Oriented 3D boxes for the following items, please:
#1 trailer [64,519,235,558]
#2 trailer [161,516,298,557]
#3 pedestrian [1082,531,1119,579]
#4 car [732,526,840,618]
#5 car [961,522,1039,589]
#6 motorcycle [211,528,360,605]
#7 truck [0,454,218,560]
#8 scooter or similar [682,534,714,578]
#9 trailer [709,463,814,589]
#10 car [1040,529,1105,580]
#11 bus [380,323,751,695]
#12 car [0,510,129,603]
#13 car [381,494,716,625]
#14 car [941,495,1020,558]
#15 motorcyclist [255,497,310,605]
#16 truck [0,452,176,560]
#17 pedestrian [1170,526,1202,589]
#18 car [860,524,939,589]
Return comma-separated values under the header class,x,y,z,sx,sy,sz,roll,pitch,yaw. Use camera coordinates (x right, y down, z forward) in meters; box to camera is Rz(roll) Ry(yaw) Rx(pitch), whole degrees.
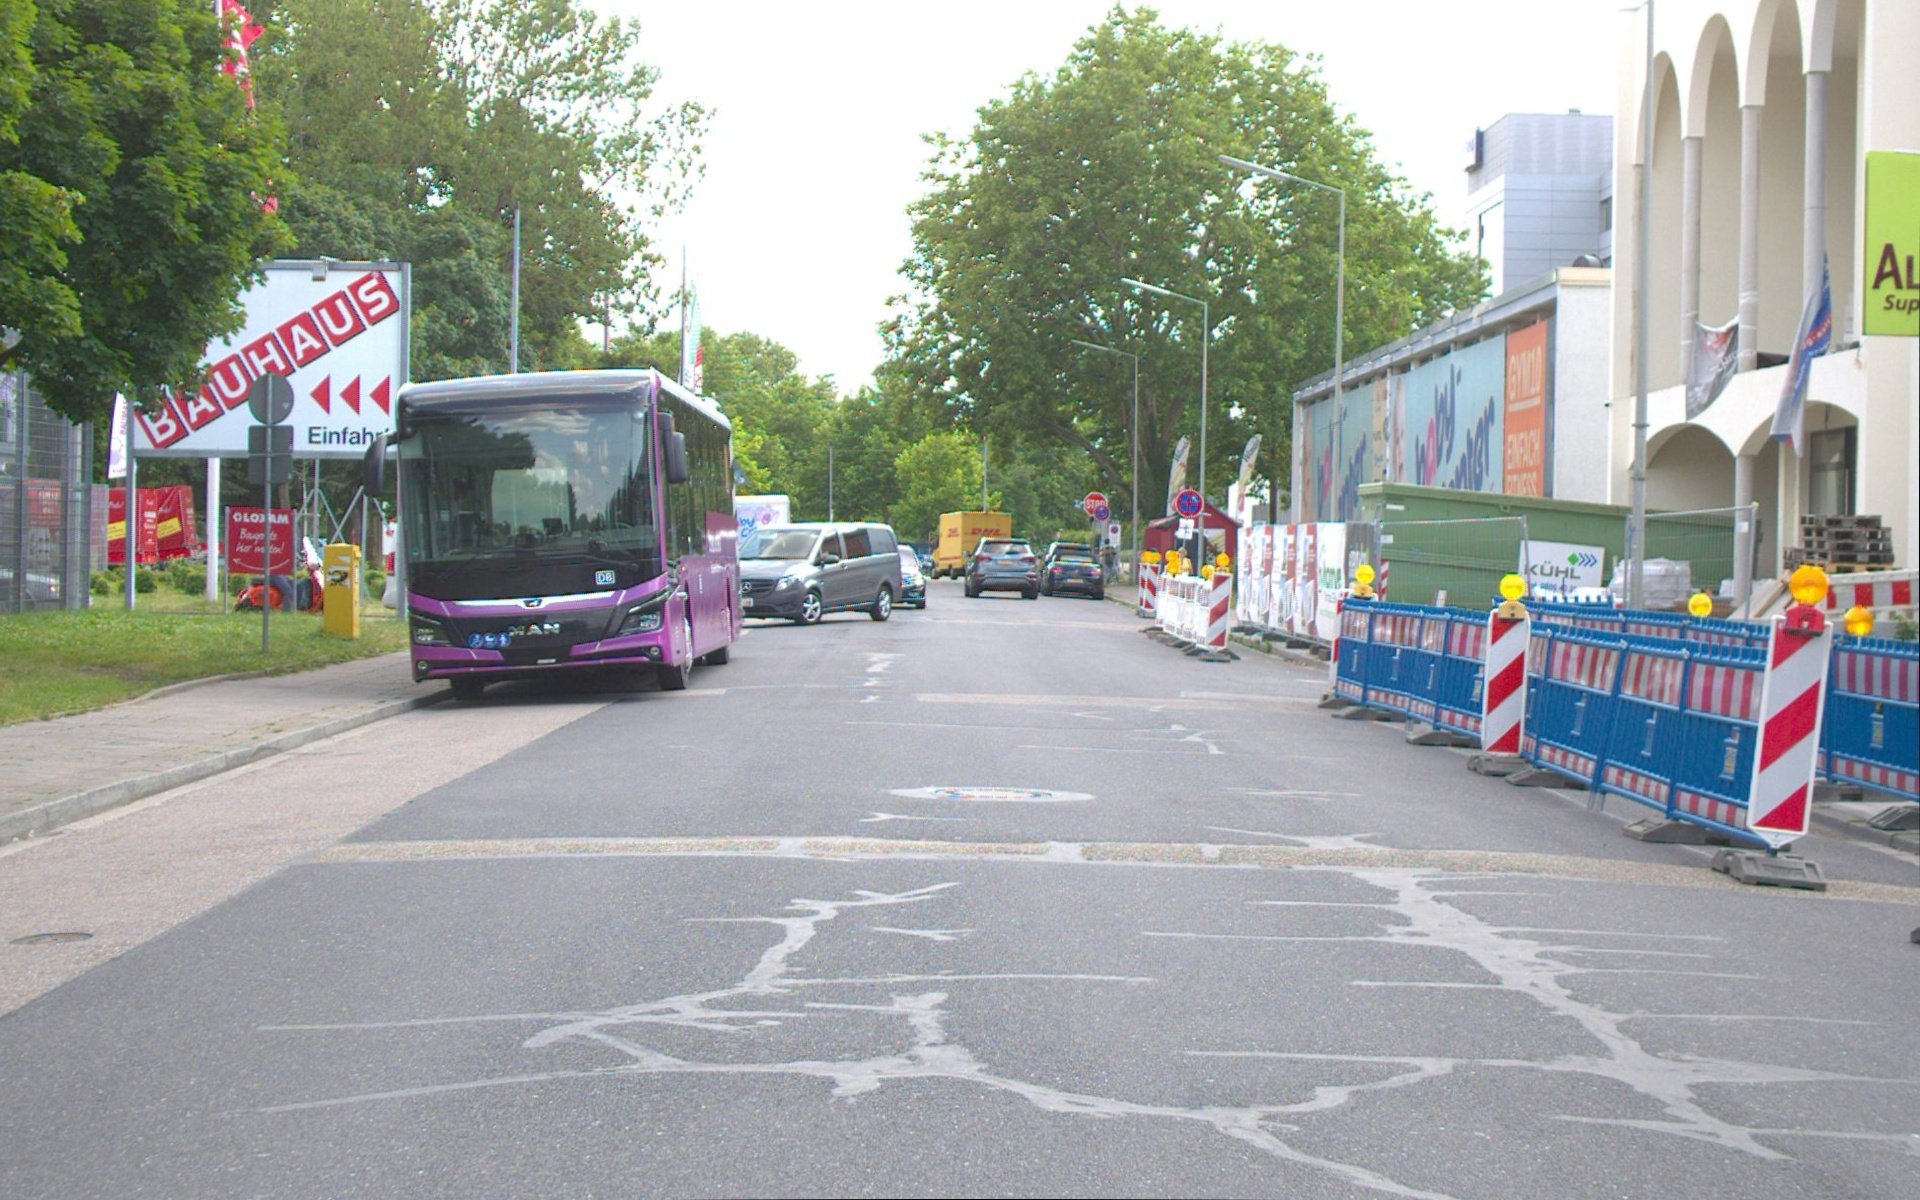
class,x,y,z,sx,sy,sz,roll,pitch,yaw
trailer,-22.363,-1.692,94.976,4.233,0.910,2.159,1,-1,-2
trailer,-22.694,-1.974,106.877,3.818,1.186,1.714,1,2,6
pedestrian,5.464,-1.765,133.756,1.000,1.843,1.230,1,1,-18
car,-3.200,-0.549,63.983,1.868,1.624,4.128,1,1,-1
car,1.100,-1.270,96.766,1.962,1.809,4.276,1,1,-2
motorcycle,-10.945,-0.543,55.824,2.221,1.209,0.994,1,1,1
truck,-22.473,-2.418,90.167,5.547,2.585,1.779,1,-1,0
scooter or similar,-7.222,-1.226,94.893,0.517,1.189,1.279,2,1,11
trailer,-4.525,-1.697,79.003,2.139,2.773,4.704,-1,1,-1
car,3.412,-1.396,104.674,1.808,1.386,4.588,4,1,1
bus,-4.130,-1.003,39.085,2.663,3.411,13.219,-2,1,0
car,-16.081,-0.748,55.808,4.684,1.449,1.954,1,1,1
car,-6.584,-0.670,55.277,5.001,1.942,1.992,1,1,5
car,0.831,-3.130,145.413,2.198,2.569,6.406,1,1,-10
motorcyclist,-10.997,-0.800,55.814,0.674,1.717,0.994,1,1,0
truck,-22.954,-2.382,86.977,5.755,2.585,1.815,1,-1,2
pedestrian,5.614,-1.053,85.509,0.681,1.528,1.130,1,1,0
car,-1.385,-1.028,79.953,1.796,1.454,4.385,0,1,0
